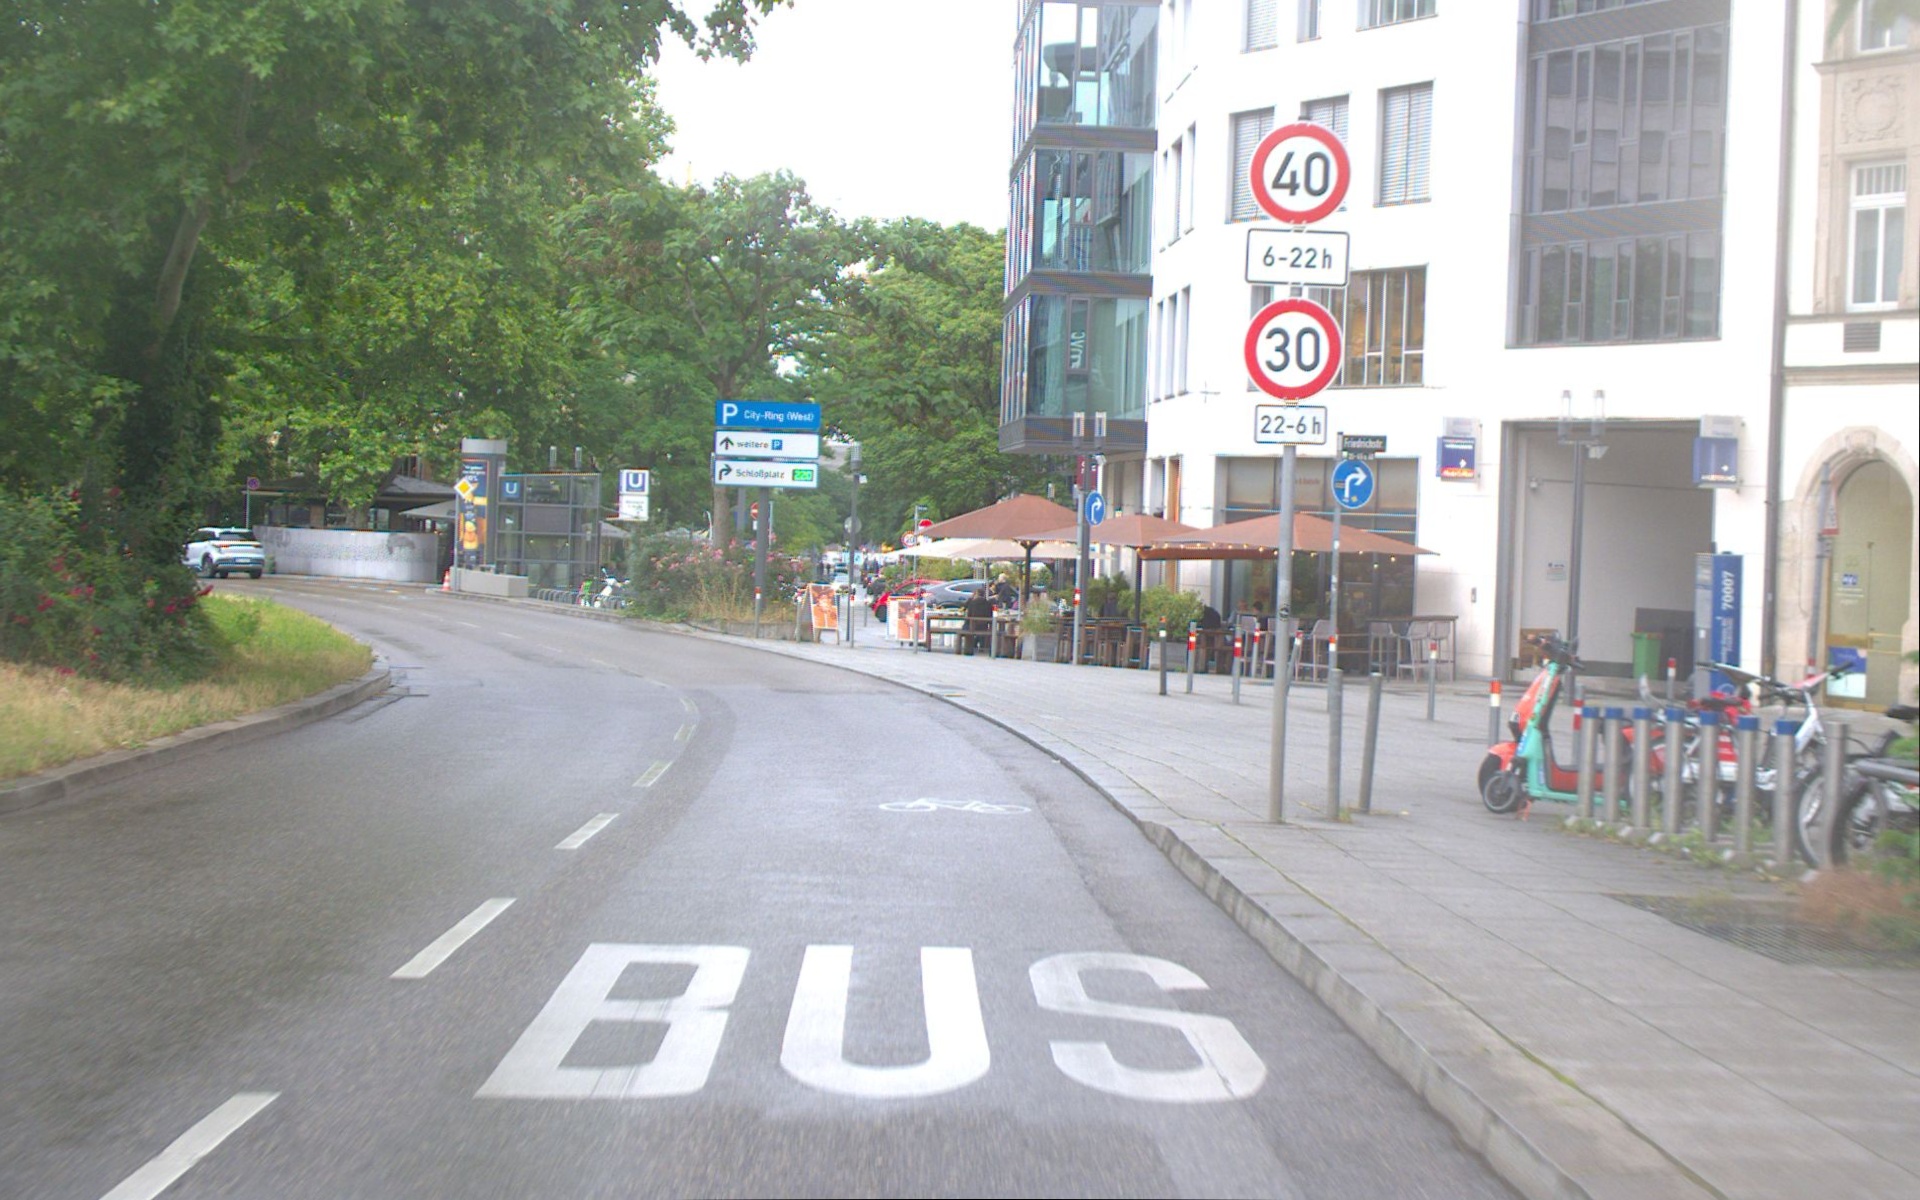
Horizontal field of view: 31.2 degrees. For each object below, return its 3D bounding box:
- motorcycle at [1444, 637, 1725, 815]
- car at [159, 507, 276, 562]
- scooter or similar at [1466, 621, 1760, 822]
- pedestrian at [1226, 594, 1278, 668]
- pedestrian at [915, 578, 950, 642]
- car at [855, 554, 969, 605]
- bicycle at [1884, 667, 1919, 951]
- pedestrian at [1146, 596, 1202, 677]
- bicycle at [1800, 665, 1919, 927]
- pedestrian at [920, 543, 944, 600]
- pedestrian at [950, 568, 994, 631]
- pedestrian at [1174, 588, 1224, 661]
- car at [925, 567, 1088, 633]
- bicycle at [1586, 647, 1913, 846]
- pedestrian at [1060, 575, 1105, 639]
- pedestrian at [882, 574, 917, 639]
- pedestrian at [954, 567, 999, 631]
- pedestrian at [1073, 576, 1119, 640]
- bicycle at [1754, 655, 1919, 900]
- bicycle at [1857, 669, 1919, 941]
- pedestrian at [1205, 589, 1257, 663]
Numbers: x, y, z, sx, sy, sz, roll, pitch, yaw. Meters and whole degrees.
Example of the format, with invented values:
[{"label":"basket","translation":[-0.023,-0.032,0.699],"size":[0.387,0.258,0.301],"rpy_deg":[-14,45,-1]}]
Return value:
[{"label":"motorcycle","translation":[4.384,0.882,24.168],"size":[1.791,1.136,0.596],"rpy_deg":[3,0,-6]},{"label":"car","translation":[-24.242,-2.138,112.127],"size":[1.947,1.660,4.344],"rpy_deg":[2,0,-39]},{"label":"scooter or similar","translation":[4.405,0.817,23.223],"size":[1.791,1.239,0.596],"rpy_deg":[3,0,-6]},{"label":"pedestrian","translation":[5.406,0.576,63.750],"size":[0.626,1.322,0.636],"rpy_deg":[4,0,-25]},{"label":"pedestrian","translation":[-0.578,0.210,72.710],"size":[0.606,1.322,0.567],"rpy_deg":[4,0,-5]},{"label":"car","translation":[-1.579,-0.675,111.433],"size":[1.610,1.411,3.527],"rpy_deg":[3,1,-45]},{"label":"bicycle","translation":[4.532,0.843,13.148],"size":[1.794,1.064,0.556],"rpy_deg":[3,0,-5]},{"label":"pedestrian","translation":[3.700,0.630,59.448],"size":[0.773,1.322,0.636],"rpy_deg":[4,0,-6]},{"label":"bicycle","translation":[4.576,0.863,14.663],"size":[1.794,1.064,0.556],"rpy_deg":[3,0,-5]},{"label":"pedestrian","translation":[-0.959,-0.968,118.050],"size":[0.624,1.926,0.787],"rpy_deg":[3,0,5]},{"label":"pedestrian","translation":[0.255,-0.020,75.483],"size":[0.817,1.322,0.636],"rpy_deg":[4,0,-5]},{"label":"pedestrian","translation":[4.571,0.470,65.772],"size":[0.626,1.322,0.636],"rpy_deg":[4,0,-25]},{"label":"car","translation":[1.381,-0.007,103.590],"size":[4.734,1.685,2.005],"rpy_deg":[3,1,-1]},{"label":"bicycle","translation":[4.872,0.899,21.264],"size":[1.794,1.104,0.670],"rpy_deg":[3,0,-7]},{"label":"pedestrian","translation":[2.684,0.151,75.495],"size":[0.817,1.322,0.636],"rpy_deg":[4,0,-5]},{"label":"pedestrian","translation":[-1.289,0.139,72.672],"size":[0.606,1.322,0.567],"rpy_deg":[4,0,-5]},{"label":"pedestrian","translation":[0.352,-0.025,74.741],"size":[0.817,1.322,0.636],"rpy_deg":[4,0,-5]},{"label":"pedestrian","translation":[2.951,0.181,74.580],"size":[0.817,1.322,0.636],"rpy_deg":[4,0,-5]},{"label":"bicycle","translation":[4.821,0.871,16.481],"size":[1.794,1.104,0.670],"rpy_deg":[3,0,-7]},{"label":"bicycle","translation":[4.646,0.869,13.992],"size":[1.794,1.064,0.556],"rpy_deg":[3,0,-5]},{"label":"pedestrian","translation":[5.087,0.480,64.555],"size":[0.626,1.322,0.636],"rpy_deg":[4,0,-25]}]
